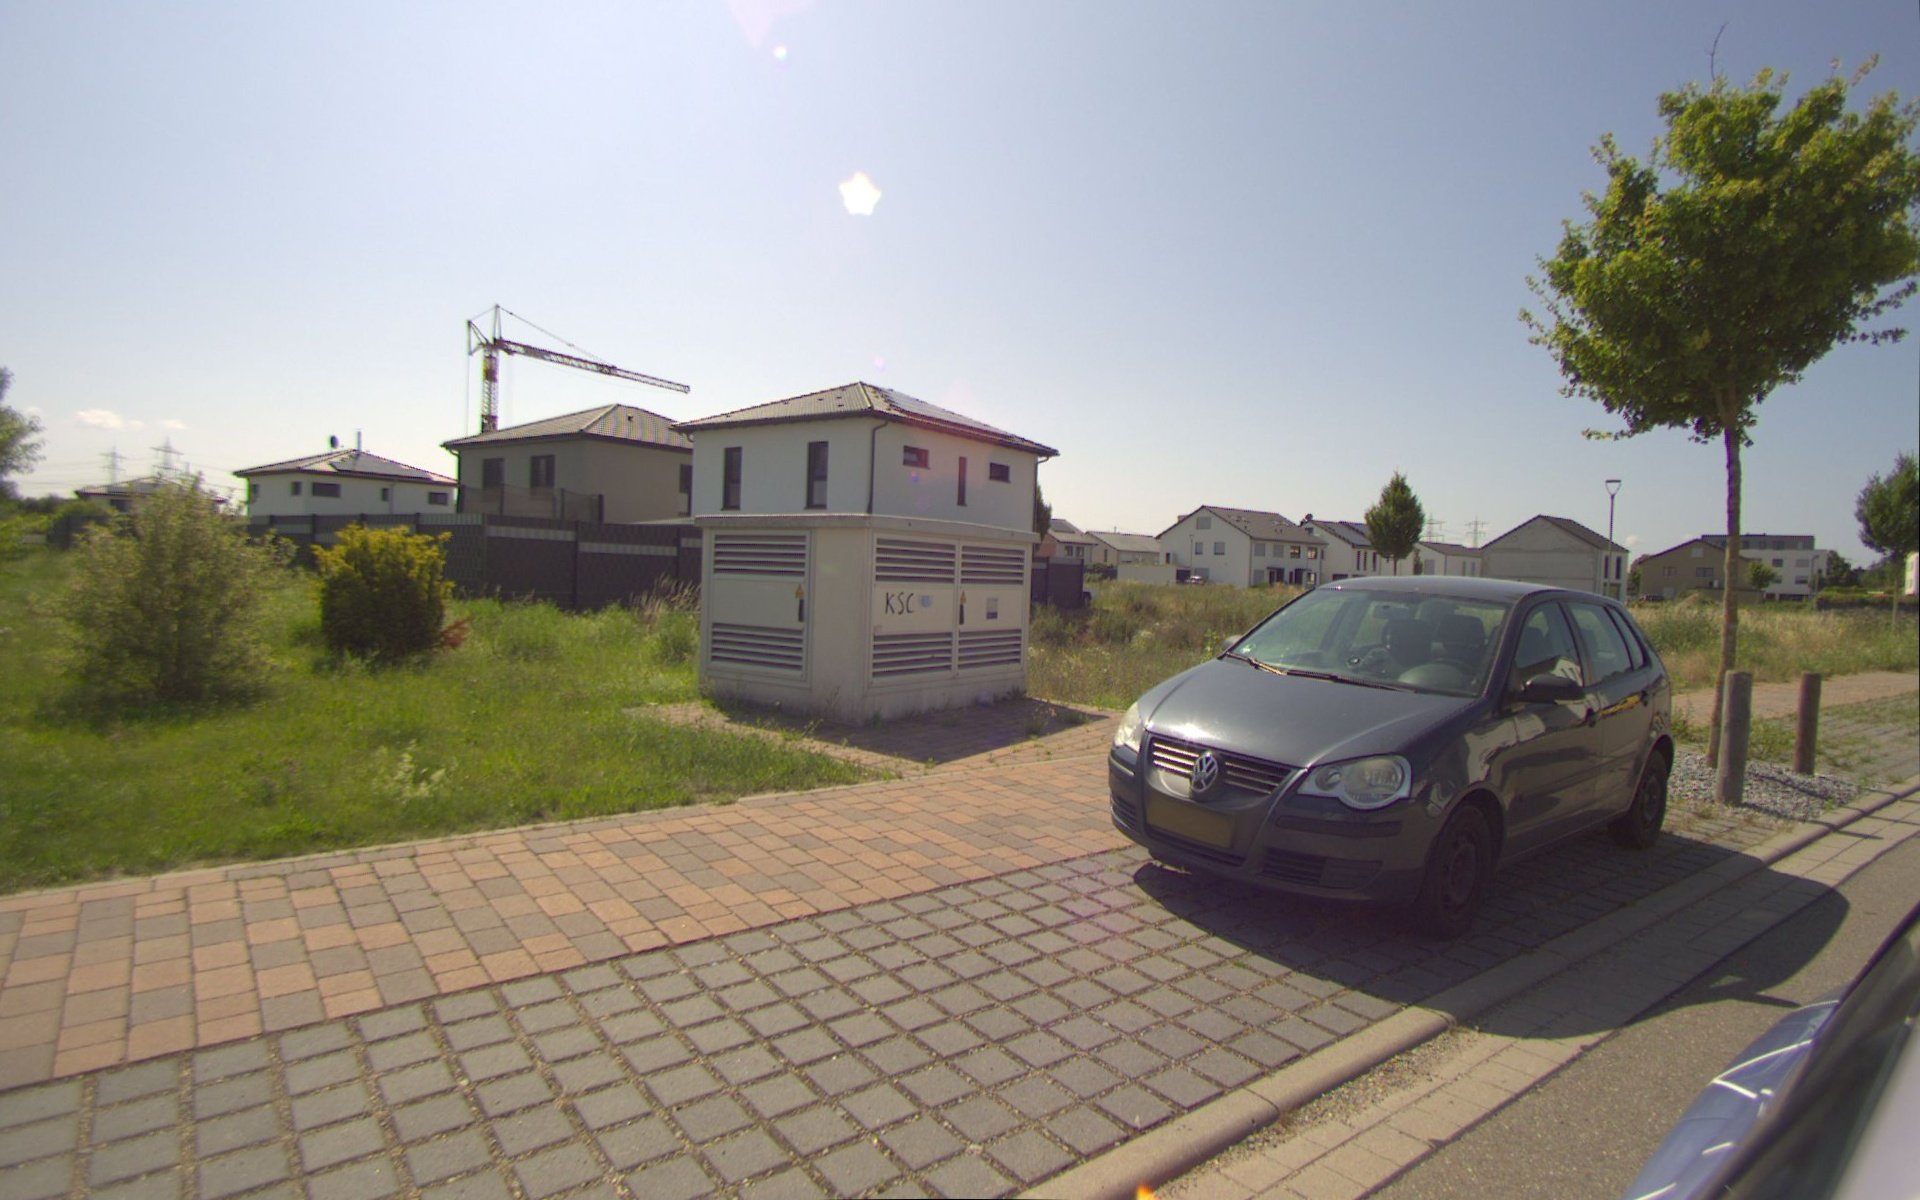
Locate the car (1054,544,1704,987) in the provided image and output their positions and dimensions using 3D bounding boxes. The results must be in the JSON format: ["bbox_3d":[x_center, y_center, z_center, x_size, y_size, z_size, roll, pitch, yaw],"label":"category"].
[{"bbox_3d":[2.355,0.554,5.278,3.610,1.493,1.602,1,4,-41],"label":"car"}]
